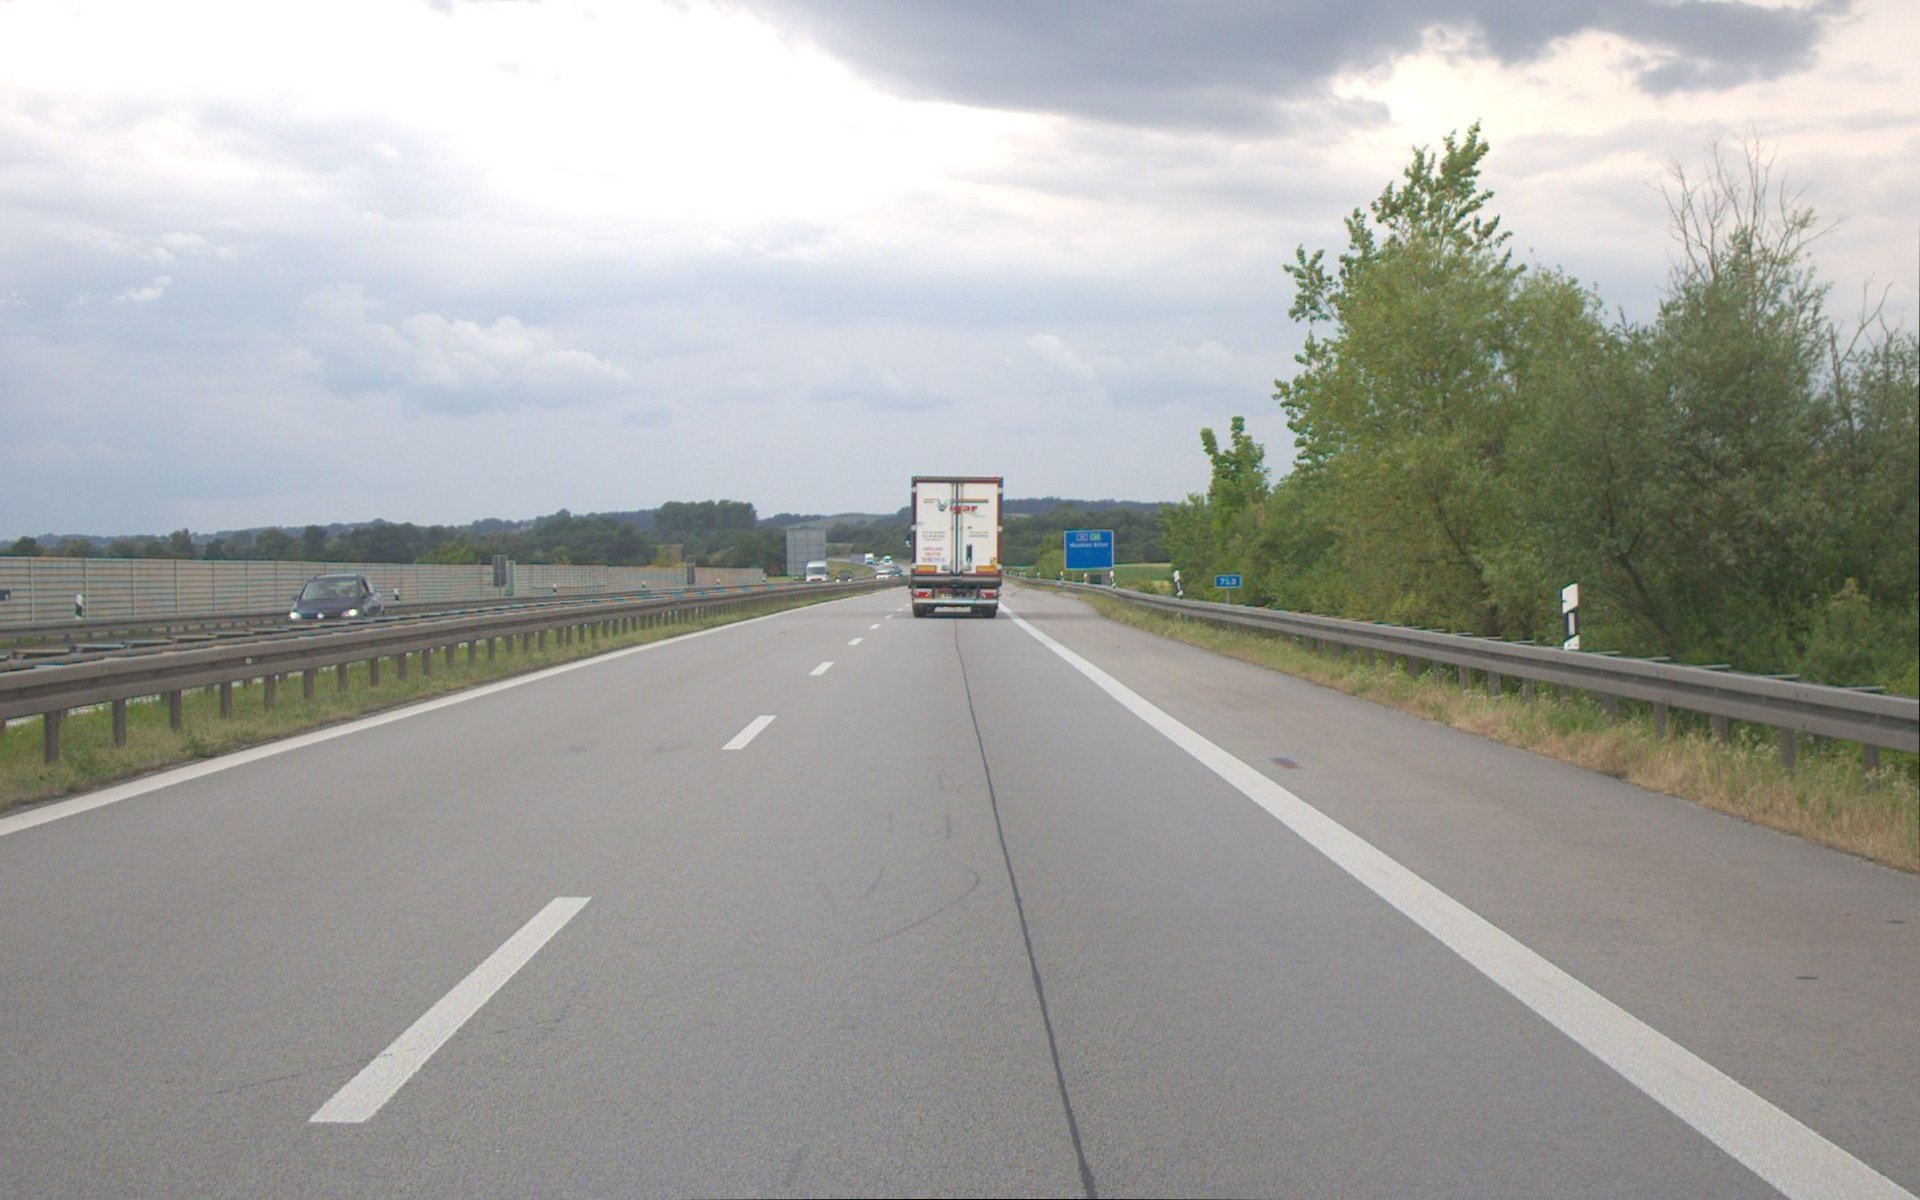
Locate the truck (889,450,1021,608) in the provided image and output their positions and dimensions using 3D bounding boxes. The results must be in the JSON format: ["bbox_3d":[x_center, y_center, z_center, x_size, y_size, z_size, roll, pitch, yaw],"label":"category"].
[{"bbox_3d":[-0.254,-2.109,105.160,3.672,4.397,16.342,-1,1,-1],"label":"truck"}]

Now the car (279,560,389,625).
[{"bbox_3d":[-14.597,-0.205,80.371,1.658,1.324,4.609,-5,1,0],"label":"car"}]
